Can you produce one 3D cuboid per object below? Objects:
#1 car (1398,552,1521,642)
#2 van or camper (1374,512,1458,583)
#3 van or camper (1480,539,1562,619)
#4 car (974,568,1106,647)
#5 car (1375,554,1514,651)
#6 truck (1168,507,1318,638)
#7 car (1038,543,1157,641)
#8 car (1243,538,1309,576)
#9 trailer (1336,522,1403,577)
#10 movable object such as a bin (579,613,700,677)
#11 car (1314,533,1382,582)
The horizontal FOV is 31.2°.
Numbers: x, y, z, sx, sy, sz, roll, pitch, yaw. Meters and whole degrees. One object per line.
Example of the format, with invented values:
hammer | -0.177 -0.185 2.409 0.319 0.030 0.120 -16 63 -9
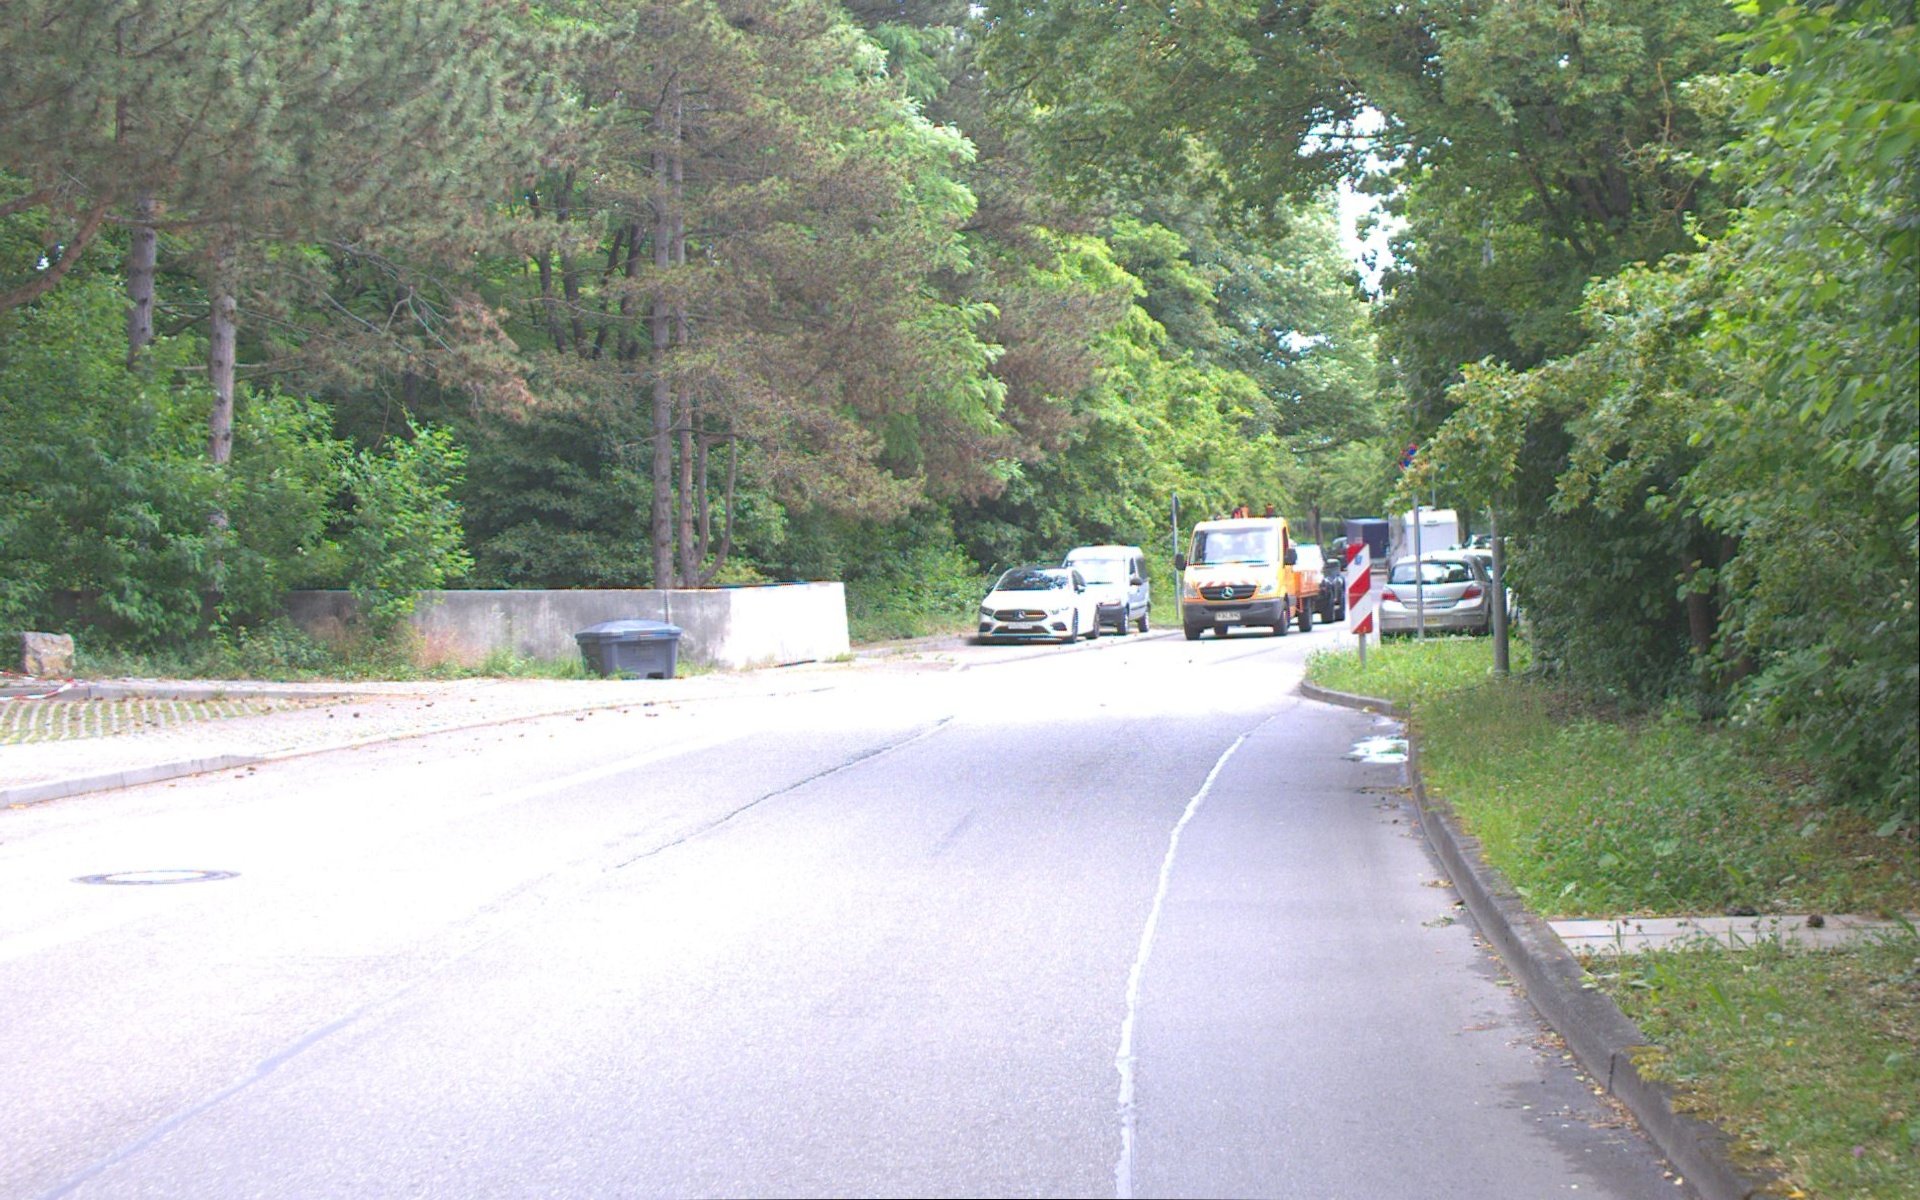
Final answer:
car | 9.060 -0.087 62.031 1.887 1.501 5.173 -2 0 11
van or camper | 19.160 -2.194 144.787 2.482 2.866 6.890 -2 1 -1
van or camper | 13.586 -0.482 83.162 1.803 1.832 4.318 -2 -1 11
car | 1.549 0.120 64.903 1.806 1.398 4.370 0 1 11
car | 7.702 0.019 54.417 1.794 1.406 4.057 -2 0 13
truck | 5.620 -0.581 67.599 2.323 2.461 6.018 0 1 11
car | 2.884 -0.194 71.287 1.722 1.915 4.102 0 1 13
car | 16.039 -2.182 174.541 2.034 1.797 4.084 -3 1 -14
trailer | 18.534 -2.292 155.755 1.993 2.390 4.001 -2 1 -8
movable object such as a bin | -3.856 0.541 41.317 1.143 0.758 1.049 1 -1 -26
car | 18.187 -2.002 161.273 1.993 2.019 4.001 -5 3 -9
